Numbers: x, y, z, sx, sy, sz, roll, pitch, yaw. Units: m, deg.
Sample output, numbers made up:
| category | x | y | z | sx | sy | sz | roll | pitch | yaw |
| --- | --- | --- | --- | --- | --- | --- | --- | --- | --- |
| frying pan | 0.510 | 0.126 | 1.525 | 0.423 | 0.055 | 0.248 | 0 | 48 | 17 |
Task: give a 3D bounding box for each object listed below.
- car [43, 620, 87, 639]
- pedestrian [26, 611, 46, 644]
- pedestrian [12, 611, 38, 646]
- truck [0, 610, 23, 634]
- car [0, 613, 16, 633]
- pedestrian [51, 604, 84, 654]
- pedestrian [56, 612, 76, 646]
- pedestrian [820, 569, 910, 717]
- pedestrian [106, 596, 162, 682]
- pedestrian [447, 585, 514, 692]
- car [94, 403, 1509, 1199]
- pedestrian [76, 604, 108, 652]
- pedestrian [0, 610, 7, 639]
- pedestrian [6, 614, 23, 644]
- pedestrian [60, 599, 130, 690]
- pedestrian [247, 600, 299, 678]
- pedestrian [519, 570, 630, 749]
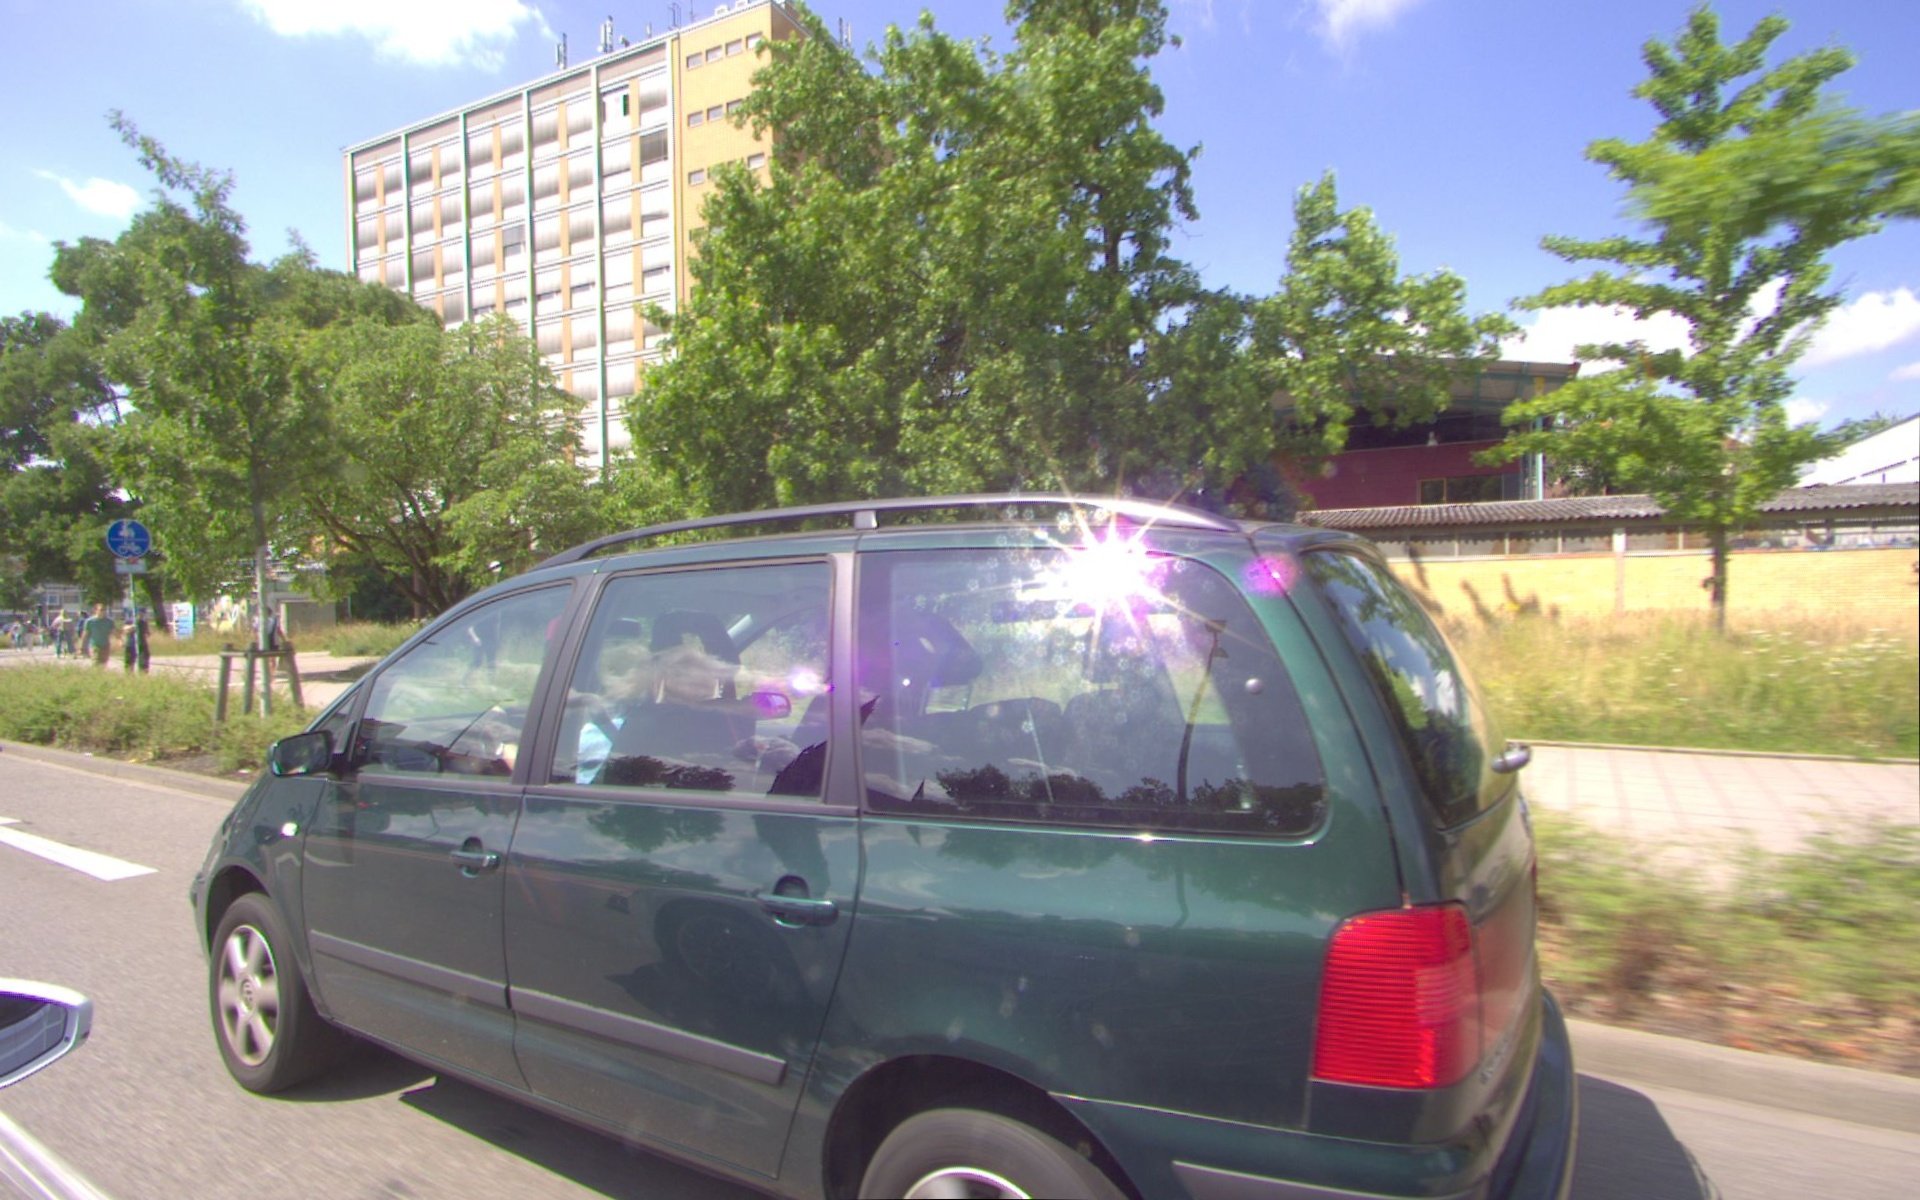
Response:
| category | x | y | z | sx | sy | sz | roll | pitch | yaw |
| --- | --- | --- | --- | --- | --- | --- | --- | --- | --- |
| car | -81.798 | 2.652 | 91.574 | 1.857 | 1.663 | 3.944 | 0 | 0 | -23 |
| pedestrian | -52.042 | 1.558 | 56.414 | 0.630 | 1.844 | 0.753 | -1 | -1 | 39 |
| pedestrian | -50.928 | 1.572 | 54.536 | 0.769 | 1.846 | 0.753 | -1 | 3 | 33 |
| truck | -114.483 | 2.615 | 117.530 | 2.843 | 2.890 | 8.778 | -1 | 0 | -16 |
| car | -80.997 | 1.961 | 83.671 | 1.857 | 1.663 | 3.944 | 0 | 0 | -23 |
| pedestrian | -33.082 | 1.066 | 37.123 | 0.602 | 1.827 | 0.746 | 0 | 2 | 38 |
| pedestrian | -48.443 | 1.575 | 54.266 | 0.666 | 1.844 | 0.752 | -1 | -1 | 41 |
| pedestrian | -1.179 | 0.516 | 12.484 | 0.865 | 1.774 | 0.665 | 0 | 2 | 31 |
| pedestrian | -17.560 | 0.815 | 21.293 | 0.599 | 1.770 | 0.666 | 0 | 2 | 25 |
| pedestrian | -8.258 | 0.645 | 17.263 | 0.657 | 1.774 | 0.748 | 0 | 2 | 31 |
| car | -0.771 | 0.668 | 3.218 | 4.383 | 1.745 | 1.792 | 0 | -2 | 32 |
| pedestrian | -32.920 | 1.066 | 37.987 | 0.602 | 1.776 | 0.746 | 0 | 2 | 38 |
| pedestrian | -53.580 | 1.383 | 55.619 | 0.751 | 1.610 | 0.754 | -1 | -1 | 33 |
| pedestrian | -52.658 | 1.640 | 55.765 | 0.719 | 1.647 | 0.585 | -1 | -1 | 40 |
| pedestrian | -17.817 | 0.901 | 20.621 | 0.867 | 1.802 | 0.749 | 0 | 2 | 25 |
| pedestrian | -14.652 | 0.813 | 21.349 | 0.638 | 1.618 | 0.665 | 0 | 2 | 31 |
| pedestrian | -3.993 | 0.585 | 10.382 | 0.835 | 1.774 | 0.665 | 0 | 2 | 31 |
